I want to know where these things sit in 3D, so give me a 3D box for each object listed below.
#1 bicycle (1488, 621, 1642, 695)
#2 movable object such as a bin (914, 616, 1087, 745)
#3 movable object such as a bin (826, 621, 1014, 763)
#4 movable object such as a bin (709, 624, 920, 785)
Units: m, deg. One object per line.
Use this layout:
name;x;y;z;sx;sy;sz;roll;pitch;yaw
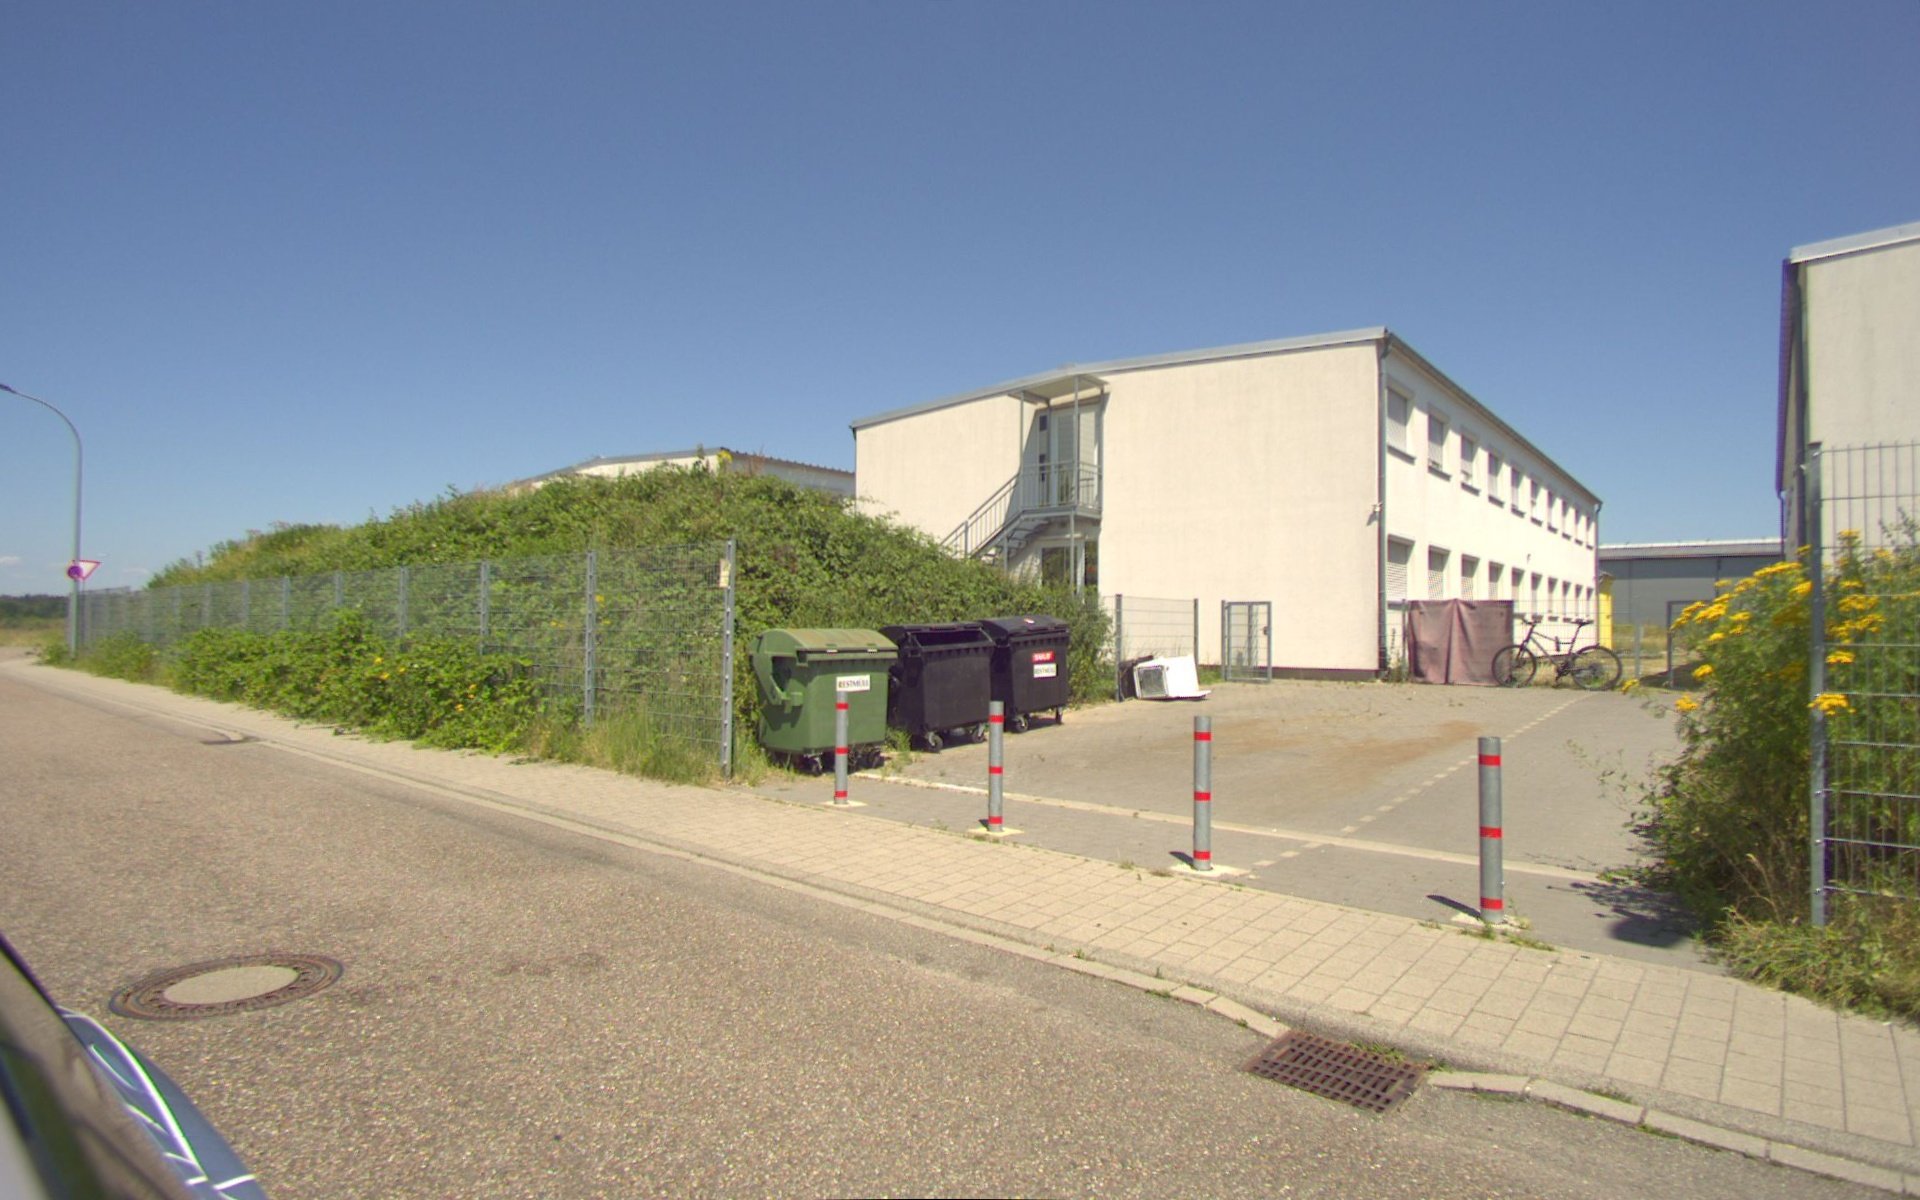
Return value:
bicycle;9.450;0.880;15.859;1.995;1.081;0.546;-1;-1;38
movable object such as a bin;0.524;0.996;13.186;1.765;1.476;1.335;-2;1;41
movable object such as a bin;-0.483;1.028;12.085;1.765;1.476;1.335;-2;1;41
movable object such as a bin;-1.518;1.000;10.492;1.838;1.488;1.290;-2;-2;41
